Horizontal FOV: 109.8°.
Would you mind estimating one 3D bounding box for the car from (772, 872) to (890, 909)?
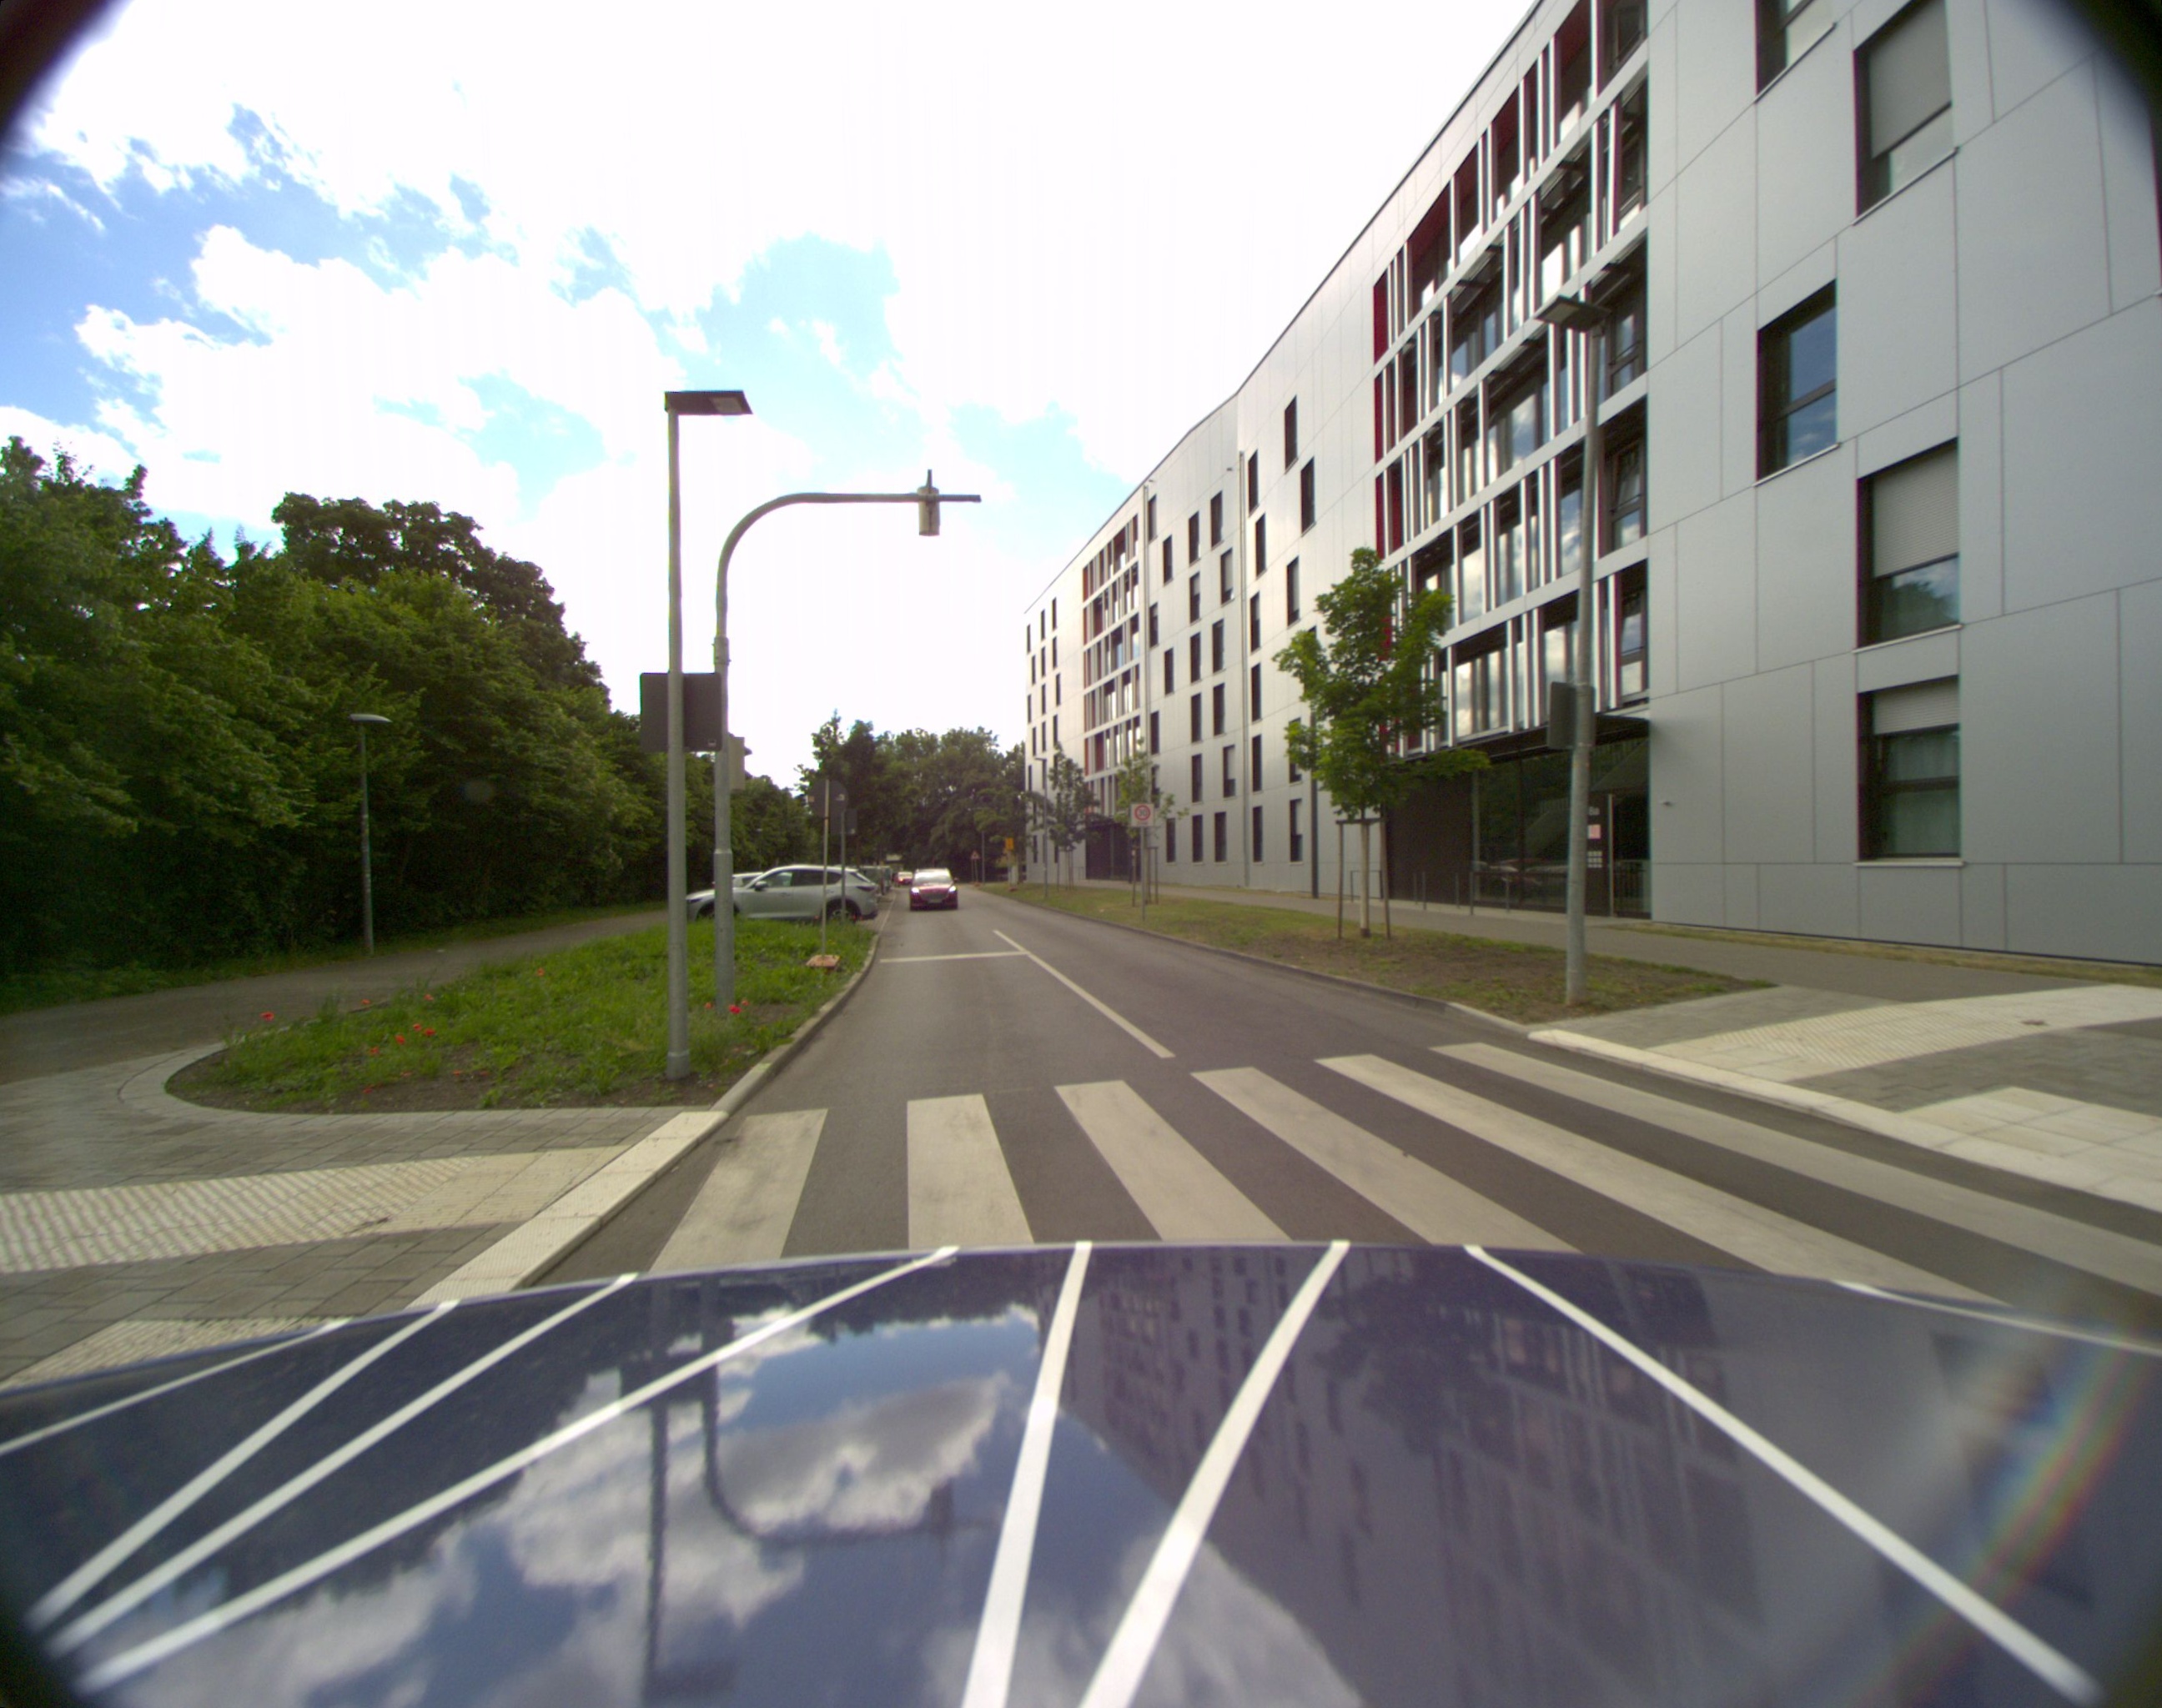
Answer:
[{"bbox_3d":[-10.065,1.454,30.969,4.412,1.426,1.942,0,-1,-13],"label":"car"}]

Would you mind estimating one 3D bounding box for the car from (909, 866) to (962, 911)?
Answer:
[{"bbox_3d":[-6.050,1.362,31.243,1.935,1.622,4.238,-2,0,-13],"label":"car"}]

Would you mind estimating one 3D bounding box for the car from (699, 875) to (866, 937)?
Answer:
[{"bbox_3d":[-8.213,1.410,21.324,4.171,1.576,1.794,0,-1,-15],"label":"car"}]

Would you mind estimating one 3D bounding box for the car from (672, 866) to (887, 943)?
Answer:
[{"bbox_3d":[-7.277,1.220,18.839,4.667,1.741,2.067,1,-1,-17],"label":"car"}]

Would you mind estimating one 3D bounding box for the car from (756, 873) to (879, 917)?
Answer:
[{"bbox_3d":[-9.802,1.507,28.574,4.162,1.582,1.675,0,-1,-11],"label":"car"}]

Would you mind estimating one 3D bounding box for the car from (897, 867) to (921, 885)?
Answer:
[{"bbox_3d":[-16.095,2.028,70.958,1.820,1.608,3.995,1,-1,-17],"label":"car"}]

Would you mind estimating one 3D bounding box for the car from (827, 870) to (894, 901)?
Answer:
[{"bbox_3d":[-14.061,2.014,48.603,3.983,1.722,1.882,-3,0,-15],"label":"car"}]

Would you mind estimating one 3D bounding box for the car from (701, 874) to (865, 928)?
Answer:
[{"bbox_3d":[-9.075,1.425,23.561,4.494,1.553,1.909,1,-1,-15],"label":"car"}]

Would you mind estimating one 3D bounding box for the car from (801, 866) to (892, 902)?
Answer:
[{"bbox_3d":[-12.650,1.638,41.248,4.568,1.887,1.882,1,-1,-15],"label":"car"}]

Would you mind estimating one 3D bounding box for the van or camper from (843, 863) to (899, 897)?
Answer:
[{"bbox_3d":[-16.126,1.976,58.401,3.983,2.305,1.882,-3,0,-15],"label":"van or camper"}]

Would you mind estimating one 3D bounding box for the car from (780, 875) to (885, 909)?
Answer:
[{"bbox_3d":[-10.906,1.664,33.661,4.297,1.400,1.835,0,-1,-15],"label":"car"}]

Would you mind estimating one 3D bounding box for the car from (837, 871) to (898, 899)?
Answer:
[{"bbox_3d":[-15.018,2.177,53.669,3.983,1.722,1.882,-3,0,-15],"label":"car"}]

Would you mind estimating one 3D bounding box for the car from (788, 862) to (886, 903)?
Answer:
[{"bbox_3d":[-11.456,1.334,35.991,4.297,1.881,1.835,0,-1,-15],"label":"car"}]
